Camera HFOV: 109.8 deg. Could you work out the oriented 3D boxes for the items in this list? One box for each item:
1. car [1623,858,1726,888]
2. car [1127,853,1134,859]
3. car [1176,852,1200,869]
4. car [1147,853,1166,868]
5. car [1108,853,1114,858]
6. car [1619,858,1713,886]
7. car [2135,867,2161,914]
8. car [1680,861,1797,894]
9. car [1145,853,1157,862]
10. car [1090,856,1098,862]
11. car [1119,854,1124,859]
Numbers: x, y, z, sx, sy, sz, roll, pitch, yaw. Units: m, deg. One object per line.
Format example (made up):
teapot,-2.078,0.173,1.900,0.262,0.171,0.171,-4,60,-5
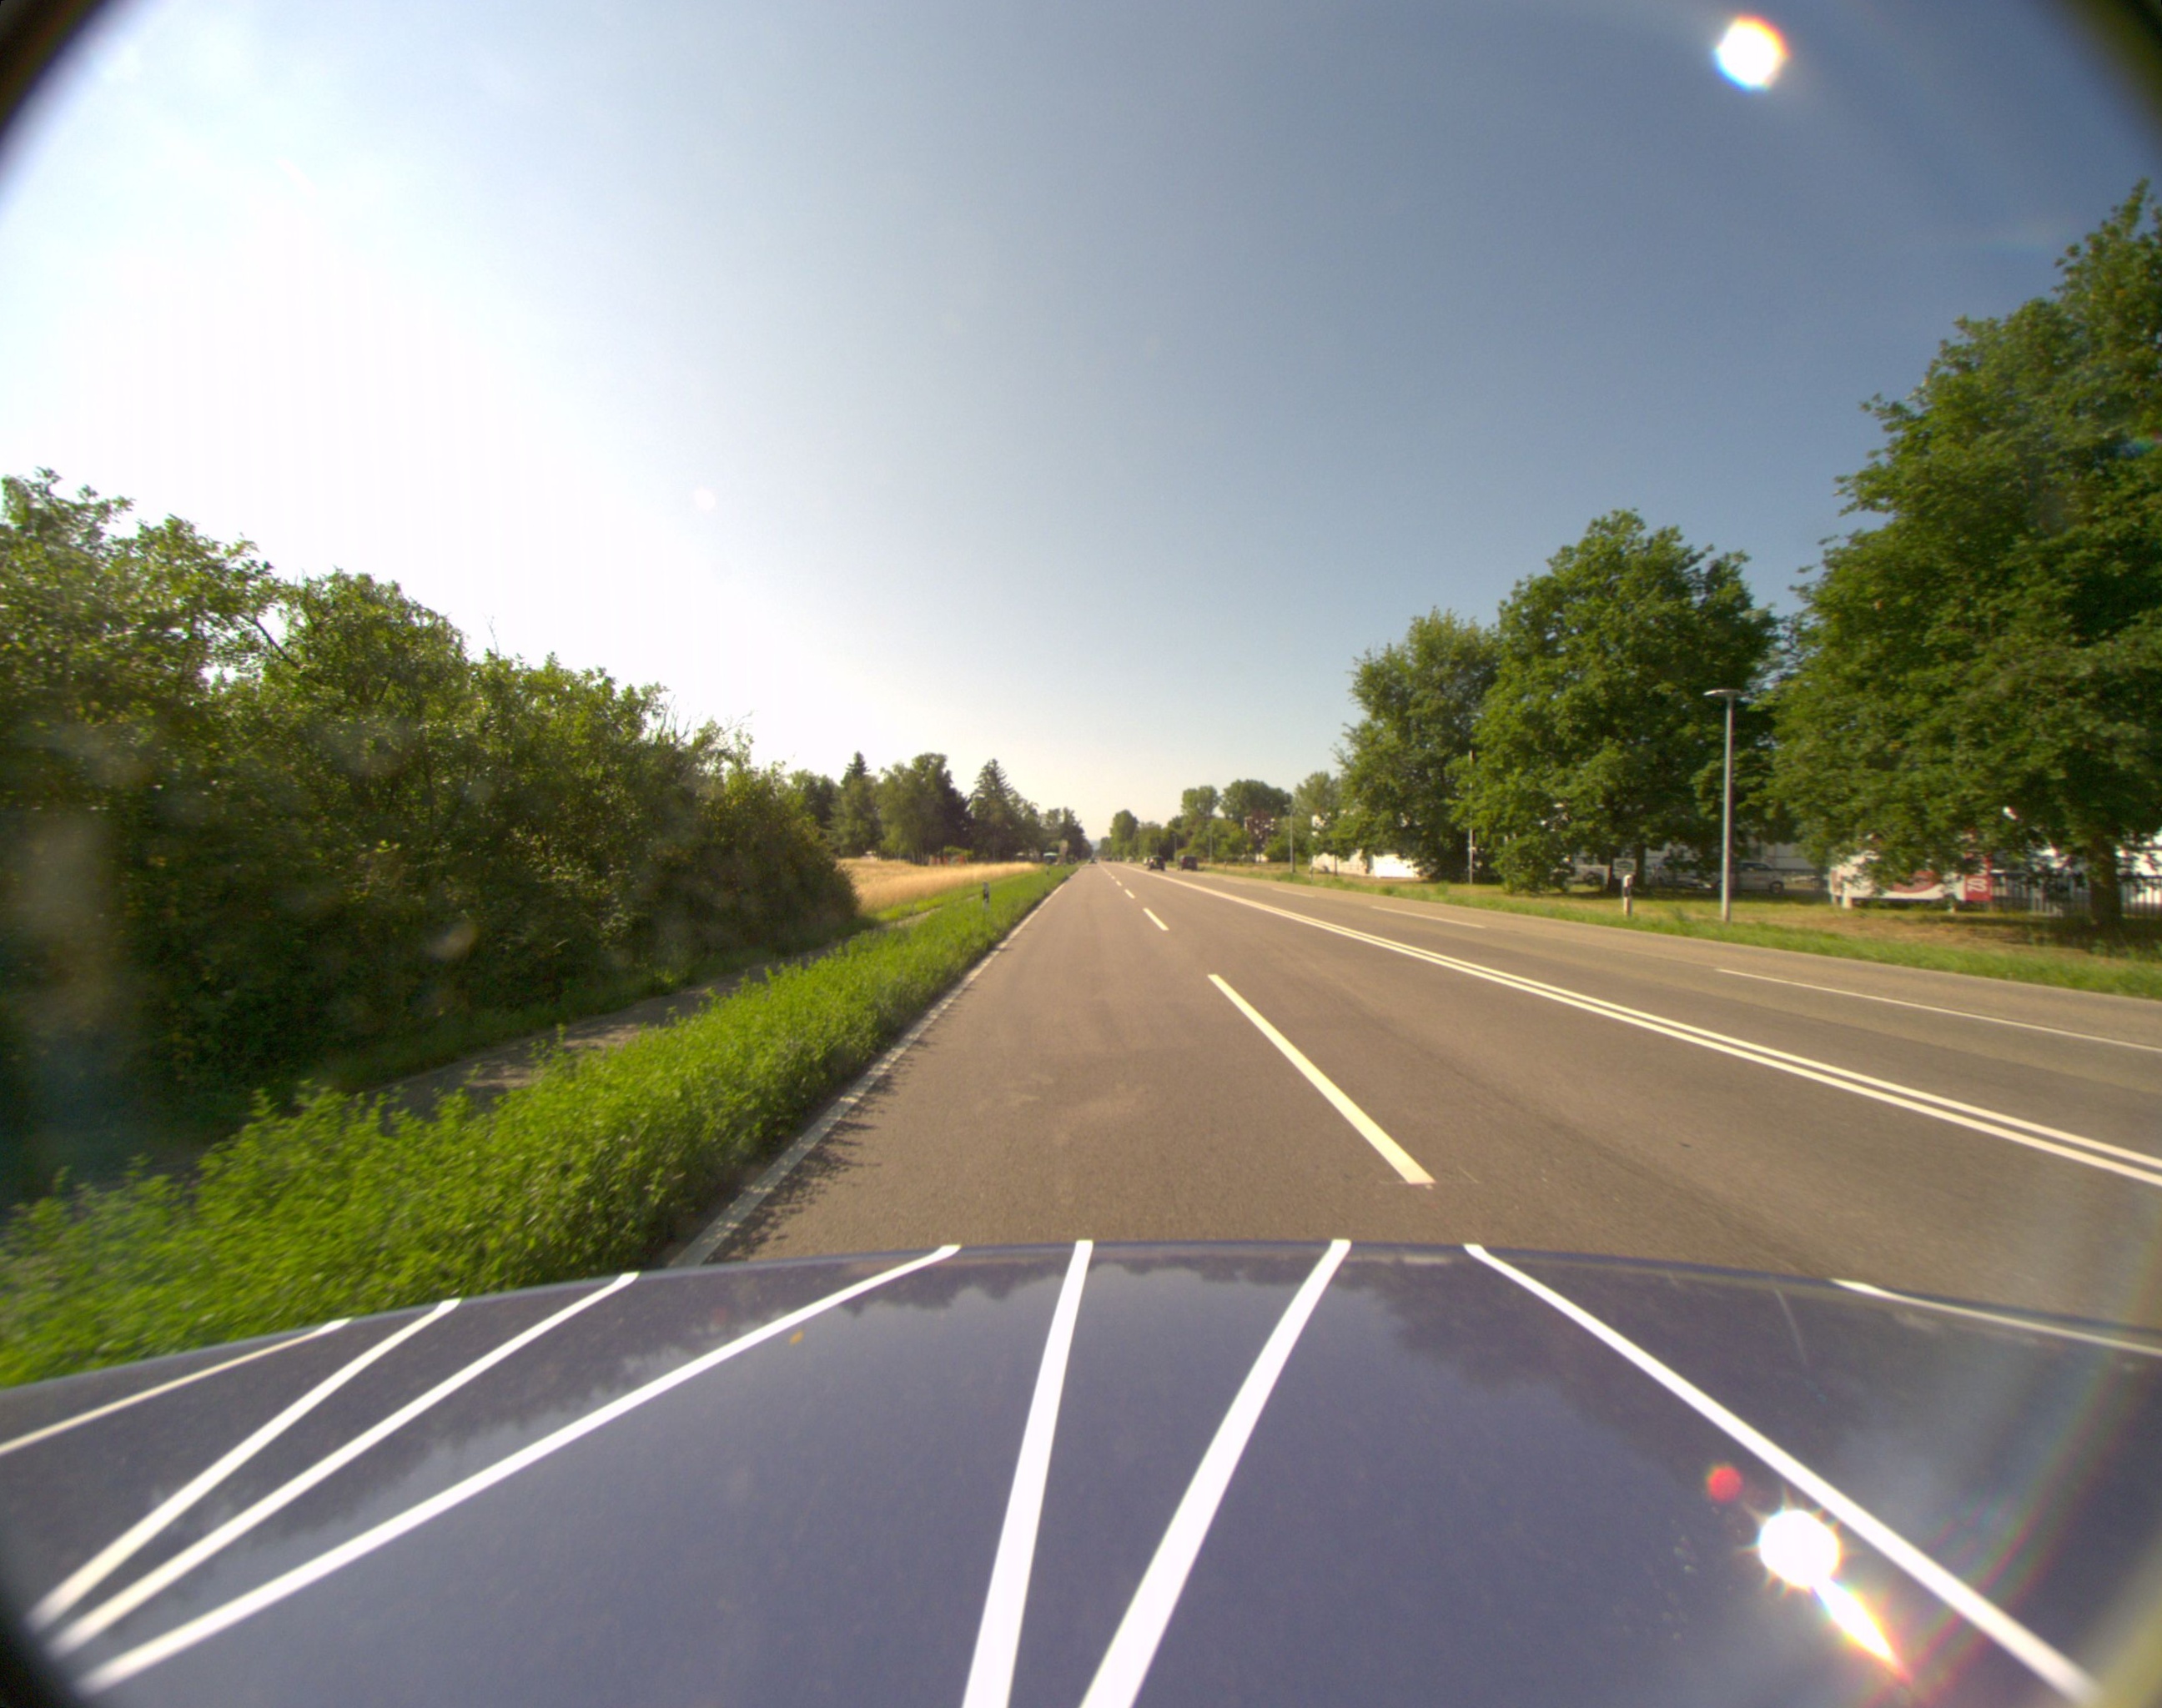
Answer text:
car,31.231,0.989,40.062,3.997,1.492,1.757,0,0,1
car,12.417,0.466,190.514,1.663,1.429,3.735,1,0,1
car,11.196,0.640,79.576,1.830,1.662,4.389,2,0,0
car,7.722,0.683,77.747,1.520,1.442,3.775,2,0,1
car,10.499,0.561,264.464,1.776,1.704,4.570,1,0,2
car,33.024,0.964,42.961,1.744,1.492,3.988,0,0,-42
car,31.860,1.068,19.955,1.792,1.341,4.662,1,0,-2
car,31.077,1.099,35.972,3.997,1.492,1.757,0,0,1
car,11.905,0.635,129.755,1.602,1.434,4.000,2,0,1
car,2.979,1.124,169.405,1.768,1.403,4.001,0,-1,2
car,13.718,0.720,257.701,1.733,1.551,4.215,2,0,1
